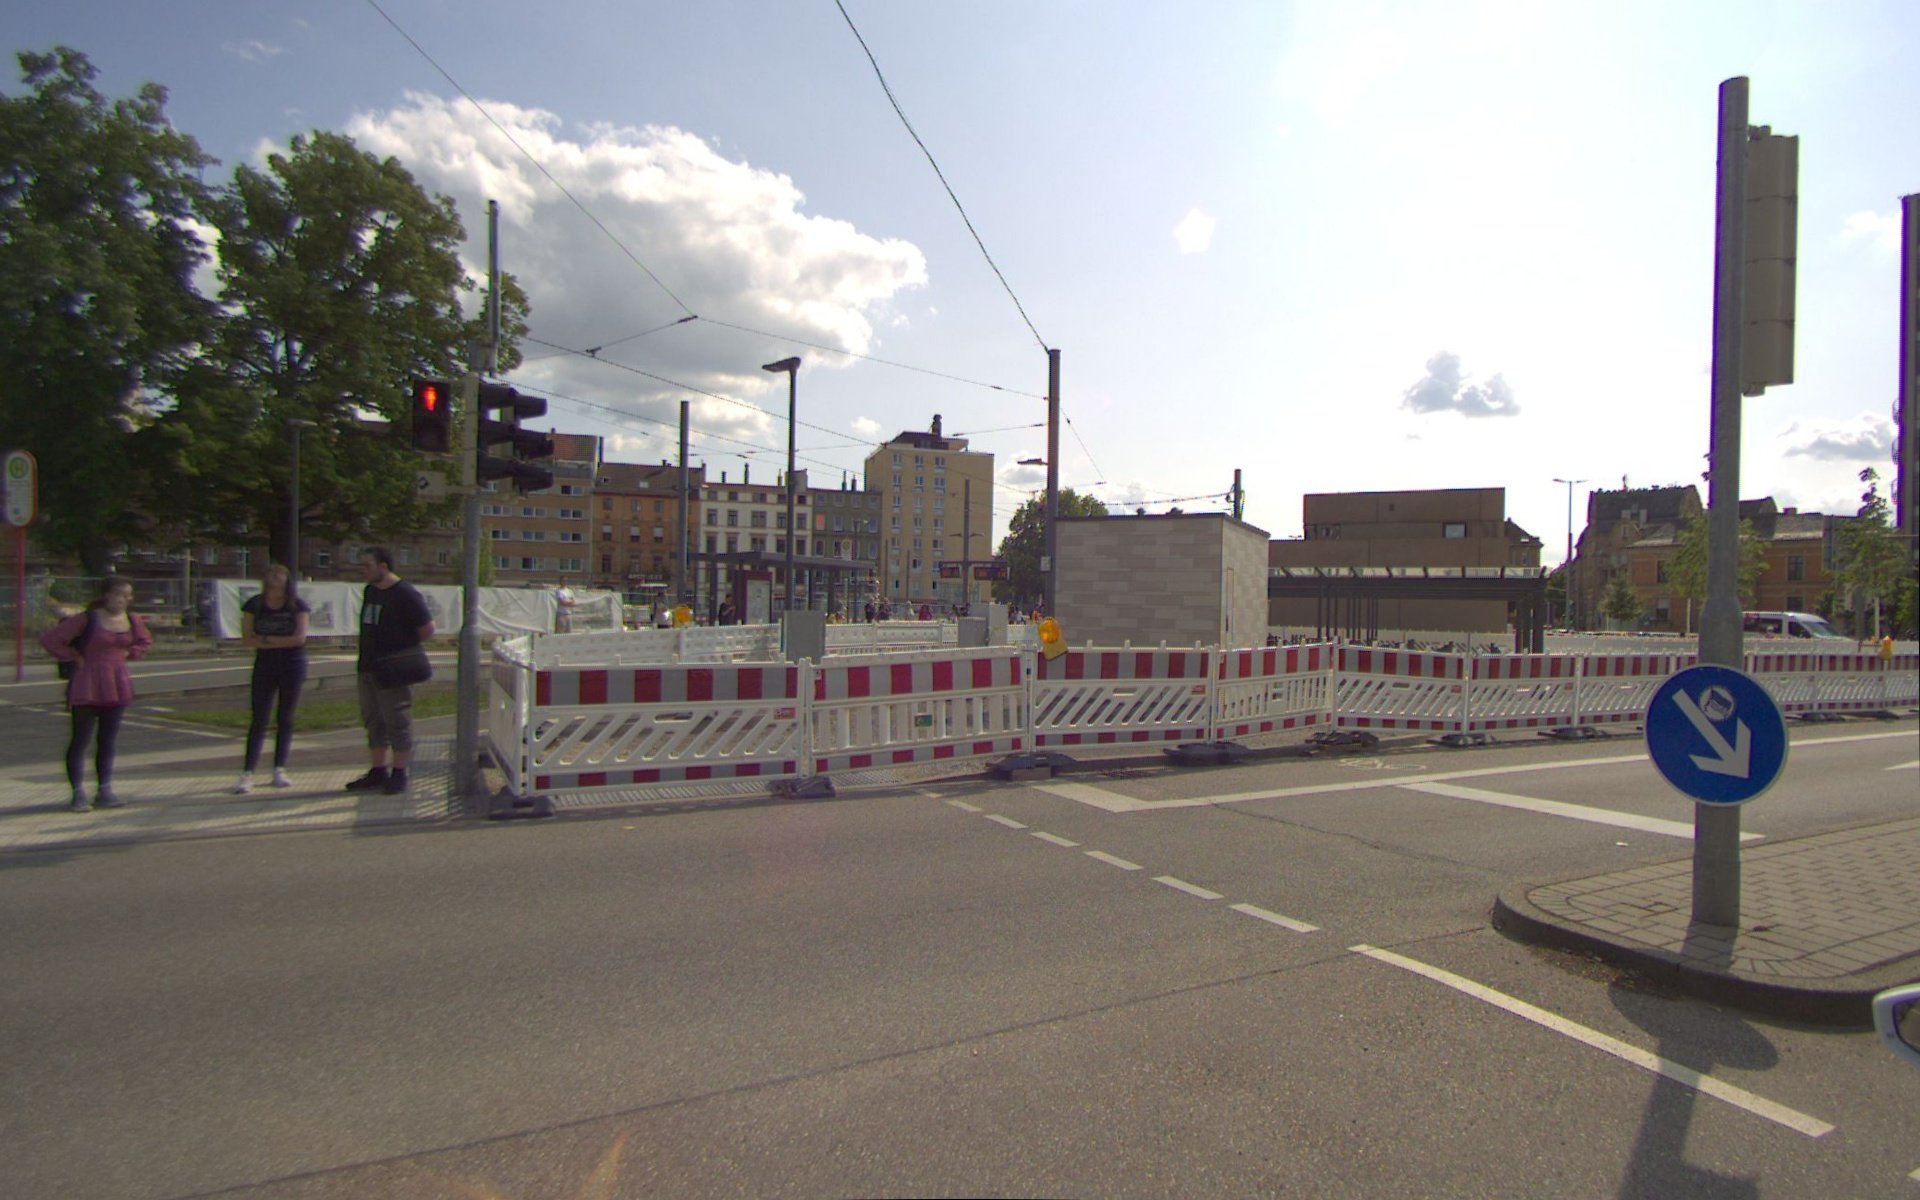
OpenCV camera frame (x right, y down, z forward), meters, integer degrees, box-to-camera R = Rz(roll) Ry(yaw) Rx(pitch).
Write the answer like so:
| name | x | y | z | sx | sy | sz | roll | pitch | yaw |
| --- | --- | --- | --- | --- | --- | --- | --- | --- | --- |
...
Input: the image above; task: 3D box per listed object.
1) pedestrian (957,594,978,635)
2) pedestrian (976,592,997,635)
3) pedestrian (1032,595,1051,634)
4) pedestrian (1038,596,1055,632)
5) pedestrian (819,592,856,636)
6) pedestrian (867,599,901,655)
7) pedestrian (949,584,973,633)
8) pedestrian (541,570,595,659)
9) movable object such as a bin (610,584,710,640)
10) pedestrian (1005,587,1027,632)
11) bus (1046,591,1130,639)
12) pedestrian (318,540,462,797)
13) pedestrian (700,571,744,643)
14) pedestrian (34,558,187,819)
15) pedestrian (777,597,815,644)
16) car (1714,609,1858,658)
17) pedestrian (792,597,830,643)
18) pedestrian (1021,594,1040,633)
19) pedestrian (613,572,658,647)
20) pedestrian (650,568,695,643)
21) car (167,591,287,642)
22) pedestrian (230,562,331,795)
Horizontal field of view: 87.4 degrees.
| name | x | y | z | sx | sy | sz | roll | pitch | yaw |
| --- | --- | --- | --- | --- | --- | --- | --- | --- | --- |
| pedestrian | 0.384 | 0.732 | 51.442 | 0.717 | 2.040 | 0.943 | 2 | 0 | 24 |
| pedestrian | 1.287 | 0.654 | 49.332 | 0.925 | 2.040 | 0.731 | 2 | 0 | -2 |
| pedestrian | 4.424 | 0.787 | 54.567 | 0.925 | 2.040 | 0.731 | 2 | 0 | 2 |
| pedestrian | 4.964 | 0.798 | 57.703 | 0.716 | 2.040 | 0.944 | 2 | 0 | 16 |
| pedestrian | -4.110 | 0.467 | 33.665 | 0.927 | 1.450 | 0.730 | 2 | 0 | 30 |
| pedestrian | -2.809 | 0.997 | 37.103 | 0.927 | 2.040 | 0.730 | 2 | 0 | 30 |
| pedestrian | 0.040 | 0.371 | 42.867 | 0.925 | 2.040 | 0.731 | 2 | 0 | 2 |
| pedestrian | -9.220 | 0.338 | 23.615 | 0.802 | 2.040 | 0.798 | 2 | 0 | 30 |
| movable object such as a bin | -14.696 | 0.588 | 49.313 | 2.603 | 2.608 | 3.993 | 1 | -1 | 30 |
| pedestrian | 2.605 | 0.458 | 46.680 | 0.925 | 2.040 | 0.731 | 2 | 0 | -2 |
| bus | 8.917 | 1.031 | 68.561 | 2.385 | 3.022 | 10.532 | 1 | -1 | 26 |
| pedestrian | -4.417 | 0.519 | 7.831 | 0.779 | 1.910 | 0.612 | 1 | 0 | -10 |
| pedestrian | -6.840 | 0.200 | 28.906 | 0.927 | 2.040 | 0.730 | 2 | 0 | 30 |
| pedestrian | -5.982 | 0.591 | 7.087 | 0.601 | 1.729 | 0.622 | 1 | 0 | 26 |
| pedestrian | -5.245 | 0.657 | 32.132 | 0.927 | 1.450 | 0.730 | 2 | 0 | 30 |
| car | 41.721 | 1.654 | 50.986 | 2.259 | 2.349 | 5.581 | 1 | -1 | -8 |
| pedestrian | -4.853 | 0.640 | 32.798 | 0.927 | 1.450 | 0.730 | 2 | 0 | 30 |
| pedestrian | 3.742 | 0.715 | 53.710 | 0.925 | 2.040 | 0.731 | 2 | 0 | 2 |
| pedestrian | -9.113 | 0.271 | 28.218 | 0.927 | 2.040 | 0.730 | 2 | 0 | 30 |
| pedestrian | -8.050 | 0.158 | 28.125 | 0.927 | 2.040 | 0.730 | 2 | 0 | 30 |
| car | -36.756 | 0.847 | 50.466 | 2.034 | 2.450 | 4.593 | 0 | -1 | 44 |
| pedestrian | -5.339 | 0.596 | 7.915 | 0.614 | 1.759 | 0.406 | 1 | 0 | -33 |
